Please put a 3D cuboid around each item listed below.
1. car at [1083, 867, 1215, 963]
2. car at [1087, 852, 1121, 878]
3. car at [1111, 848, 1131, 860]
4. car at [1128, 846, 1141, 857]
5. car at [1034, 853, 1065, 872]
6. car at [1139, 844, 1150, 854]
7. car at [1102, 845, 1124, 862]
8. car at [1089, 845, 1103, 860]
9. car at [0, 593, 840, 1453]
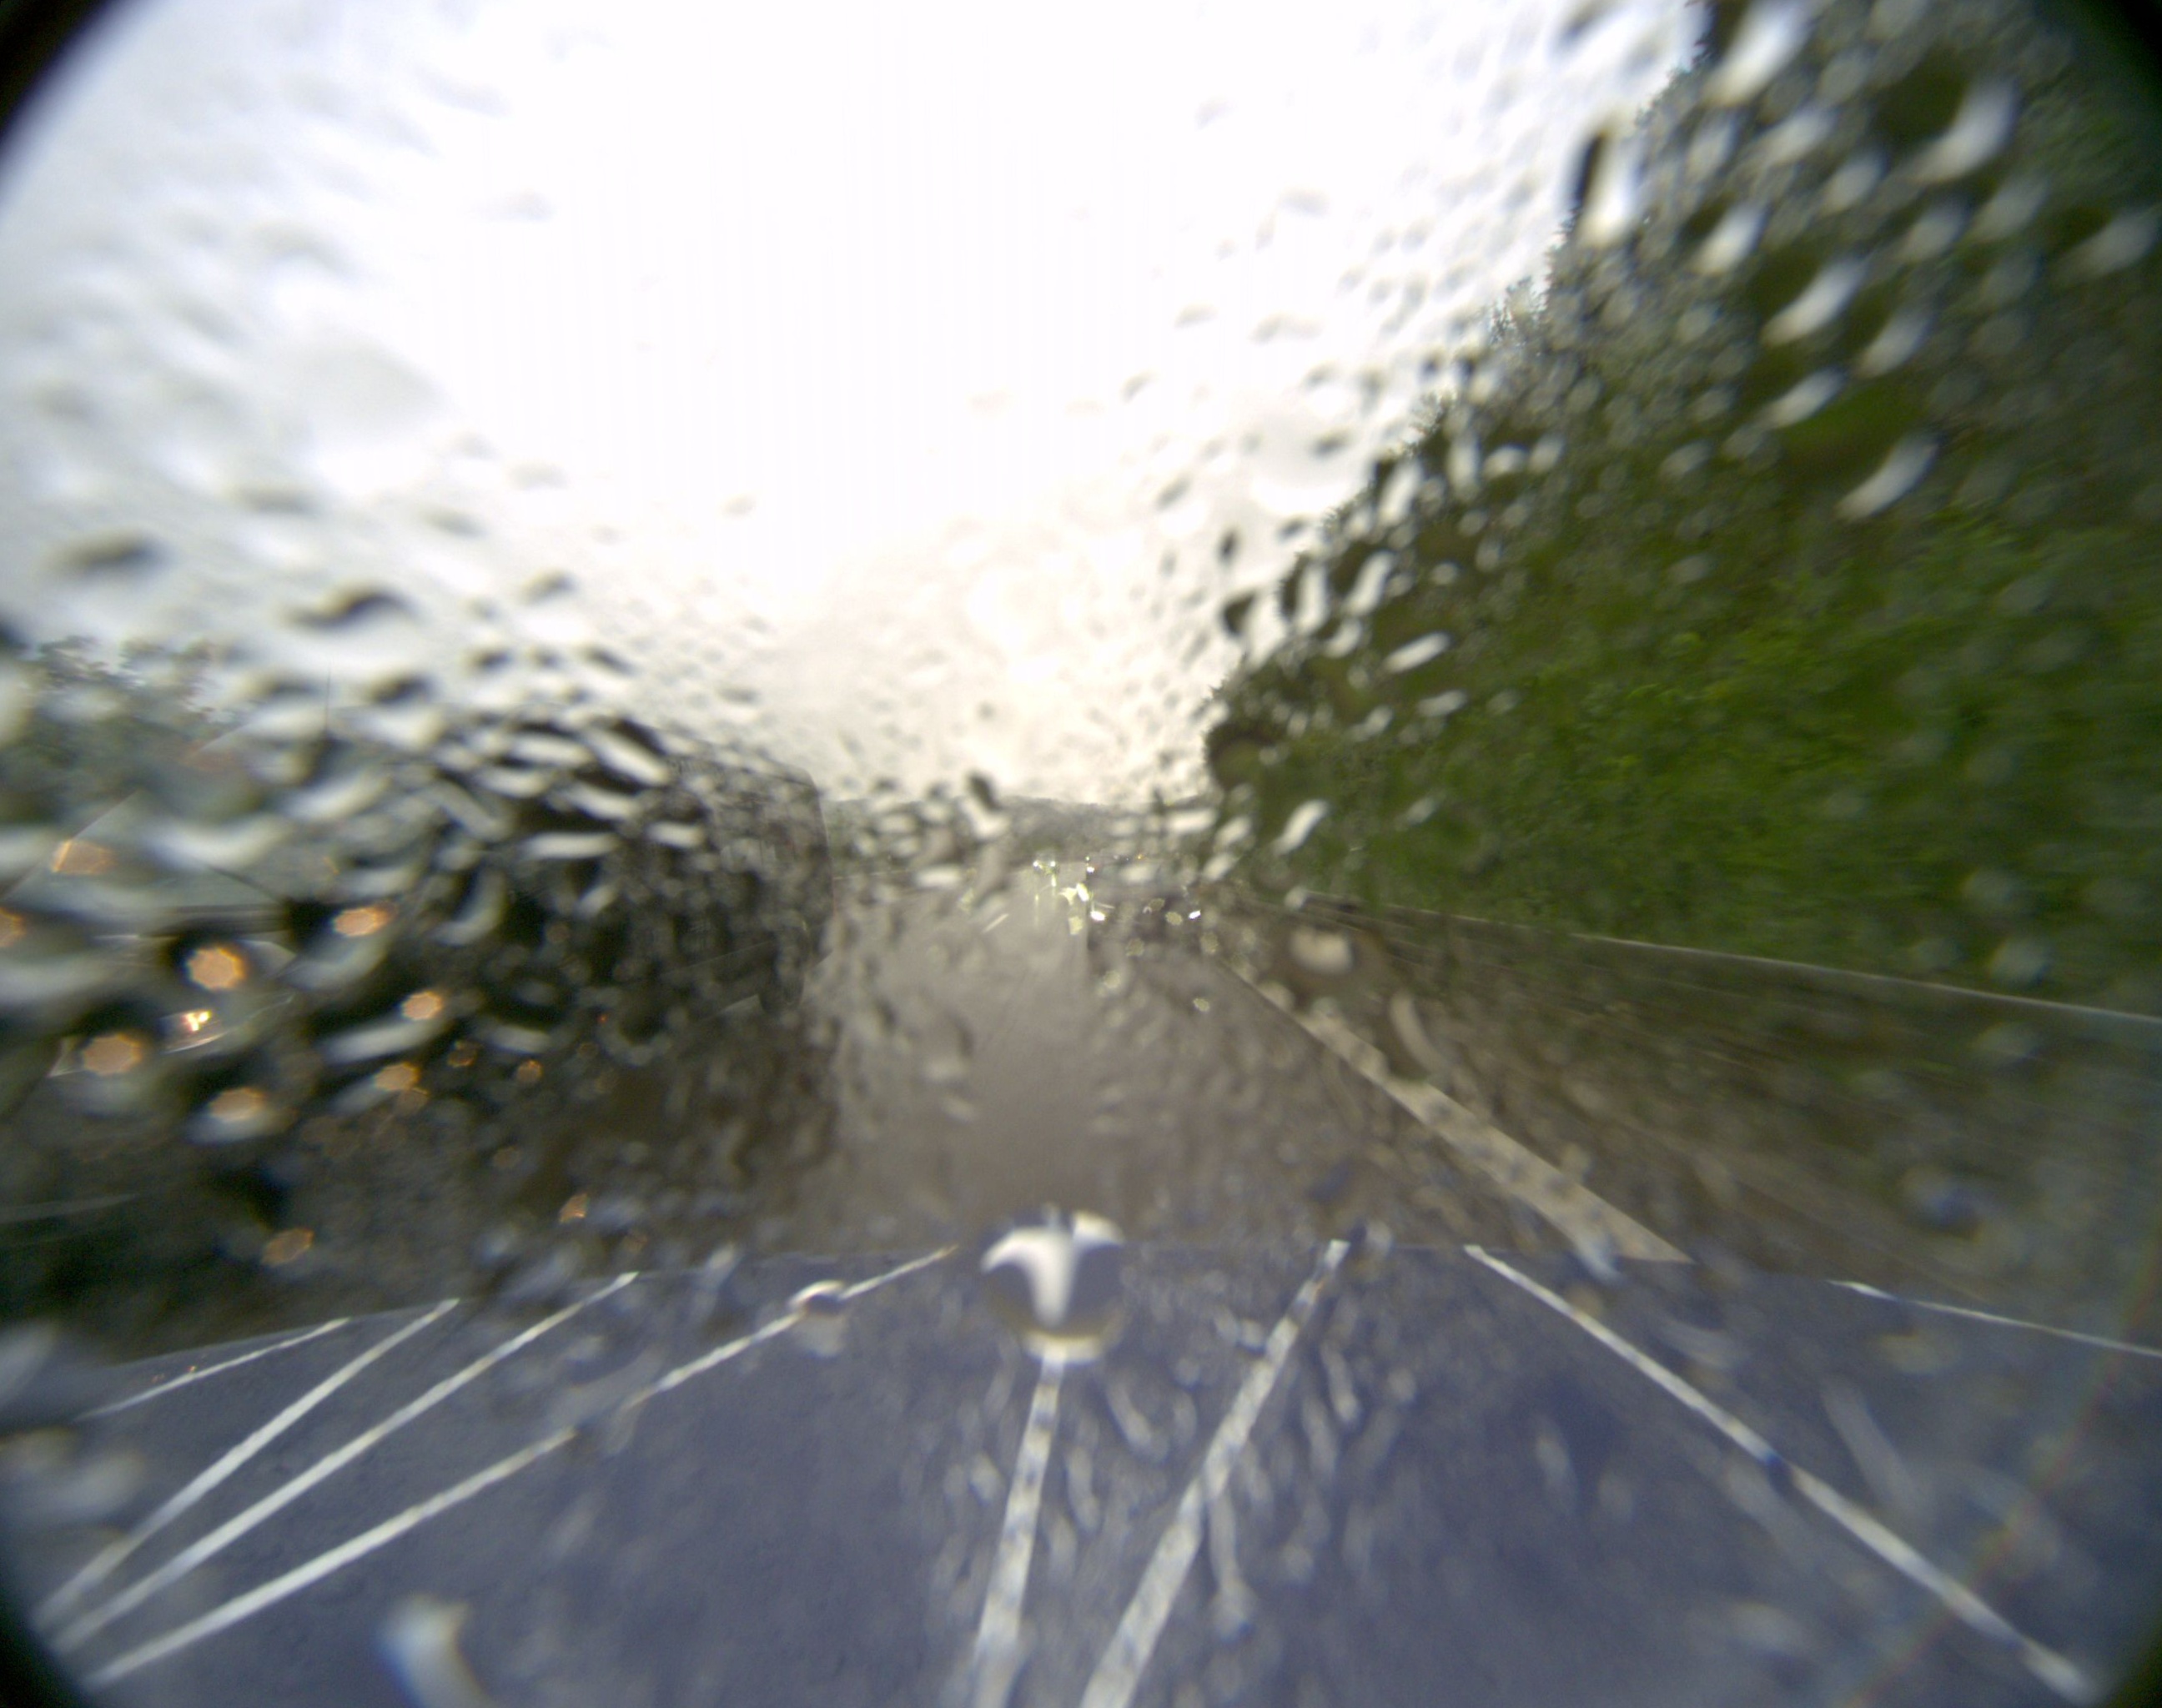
[{"bbox_3d":[1.001,0.929,13.125,1.839,1.316,4.135,-1,0,-1],"label":"car"},{"bbox_3d":[1.337,0.568,43.010,1.712,1.316,3.945,-3,0,3],"label":"car"},{"bbox_3d":[4.872,0.026,92.136,1.989,1.316,4.145,-1,1,9],"label":"car"},{"bbox_3d":[7.895,-0.334,112.112,1.657,1.535,3.665,-1,1,8],"label":"car"},{"bbox_3d":[-2.430,0.664,60.050,1.990,1.407,4.565,0,1,4],"label":"car"},{"bbox_3d":[10.965,-0.825,131.345,1.623,1.713,3.414,1,1,8],"label":"car"},{"bbox_3d":[3.076,-0.091,72.499,1.906,1.545,4.565,0,1,4],"label":"car"},{"bbox_3d":[2.020,-0.241,100.323,1.765,1.851,3.768,-1,1,2],"label":"car"},{"bbox_3d":[-3.864,0.501,5.539,1.998,2.480,6.704,-2,0,0],"label":"car"}]
